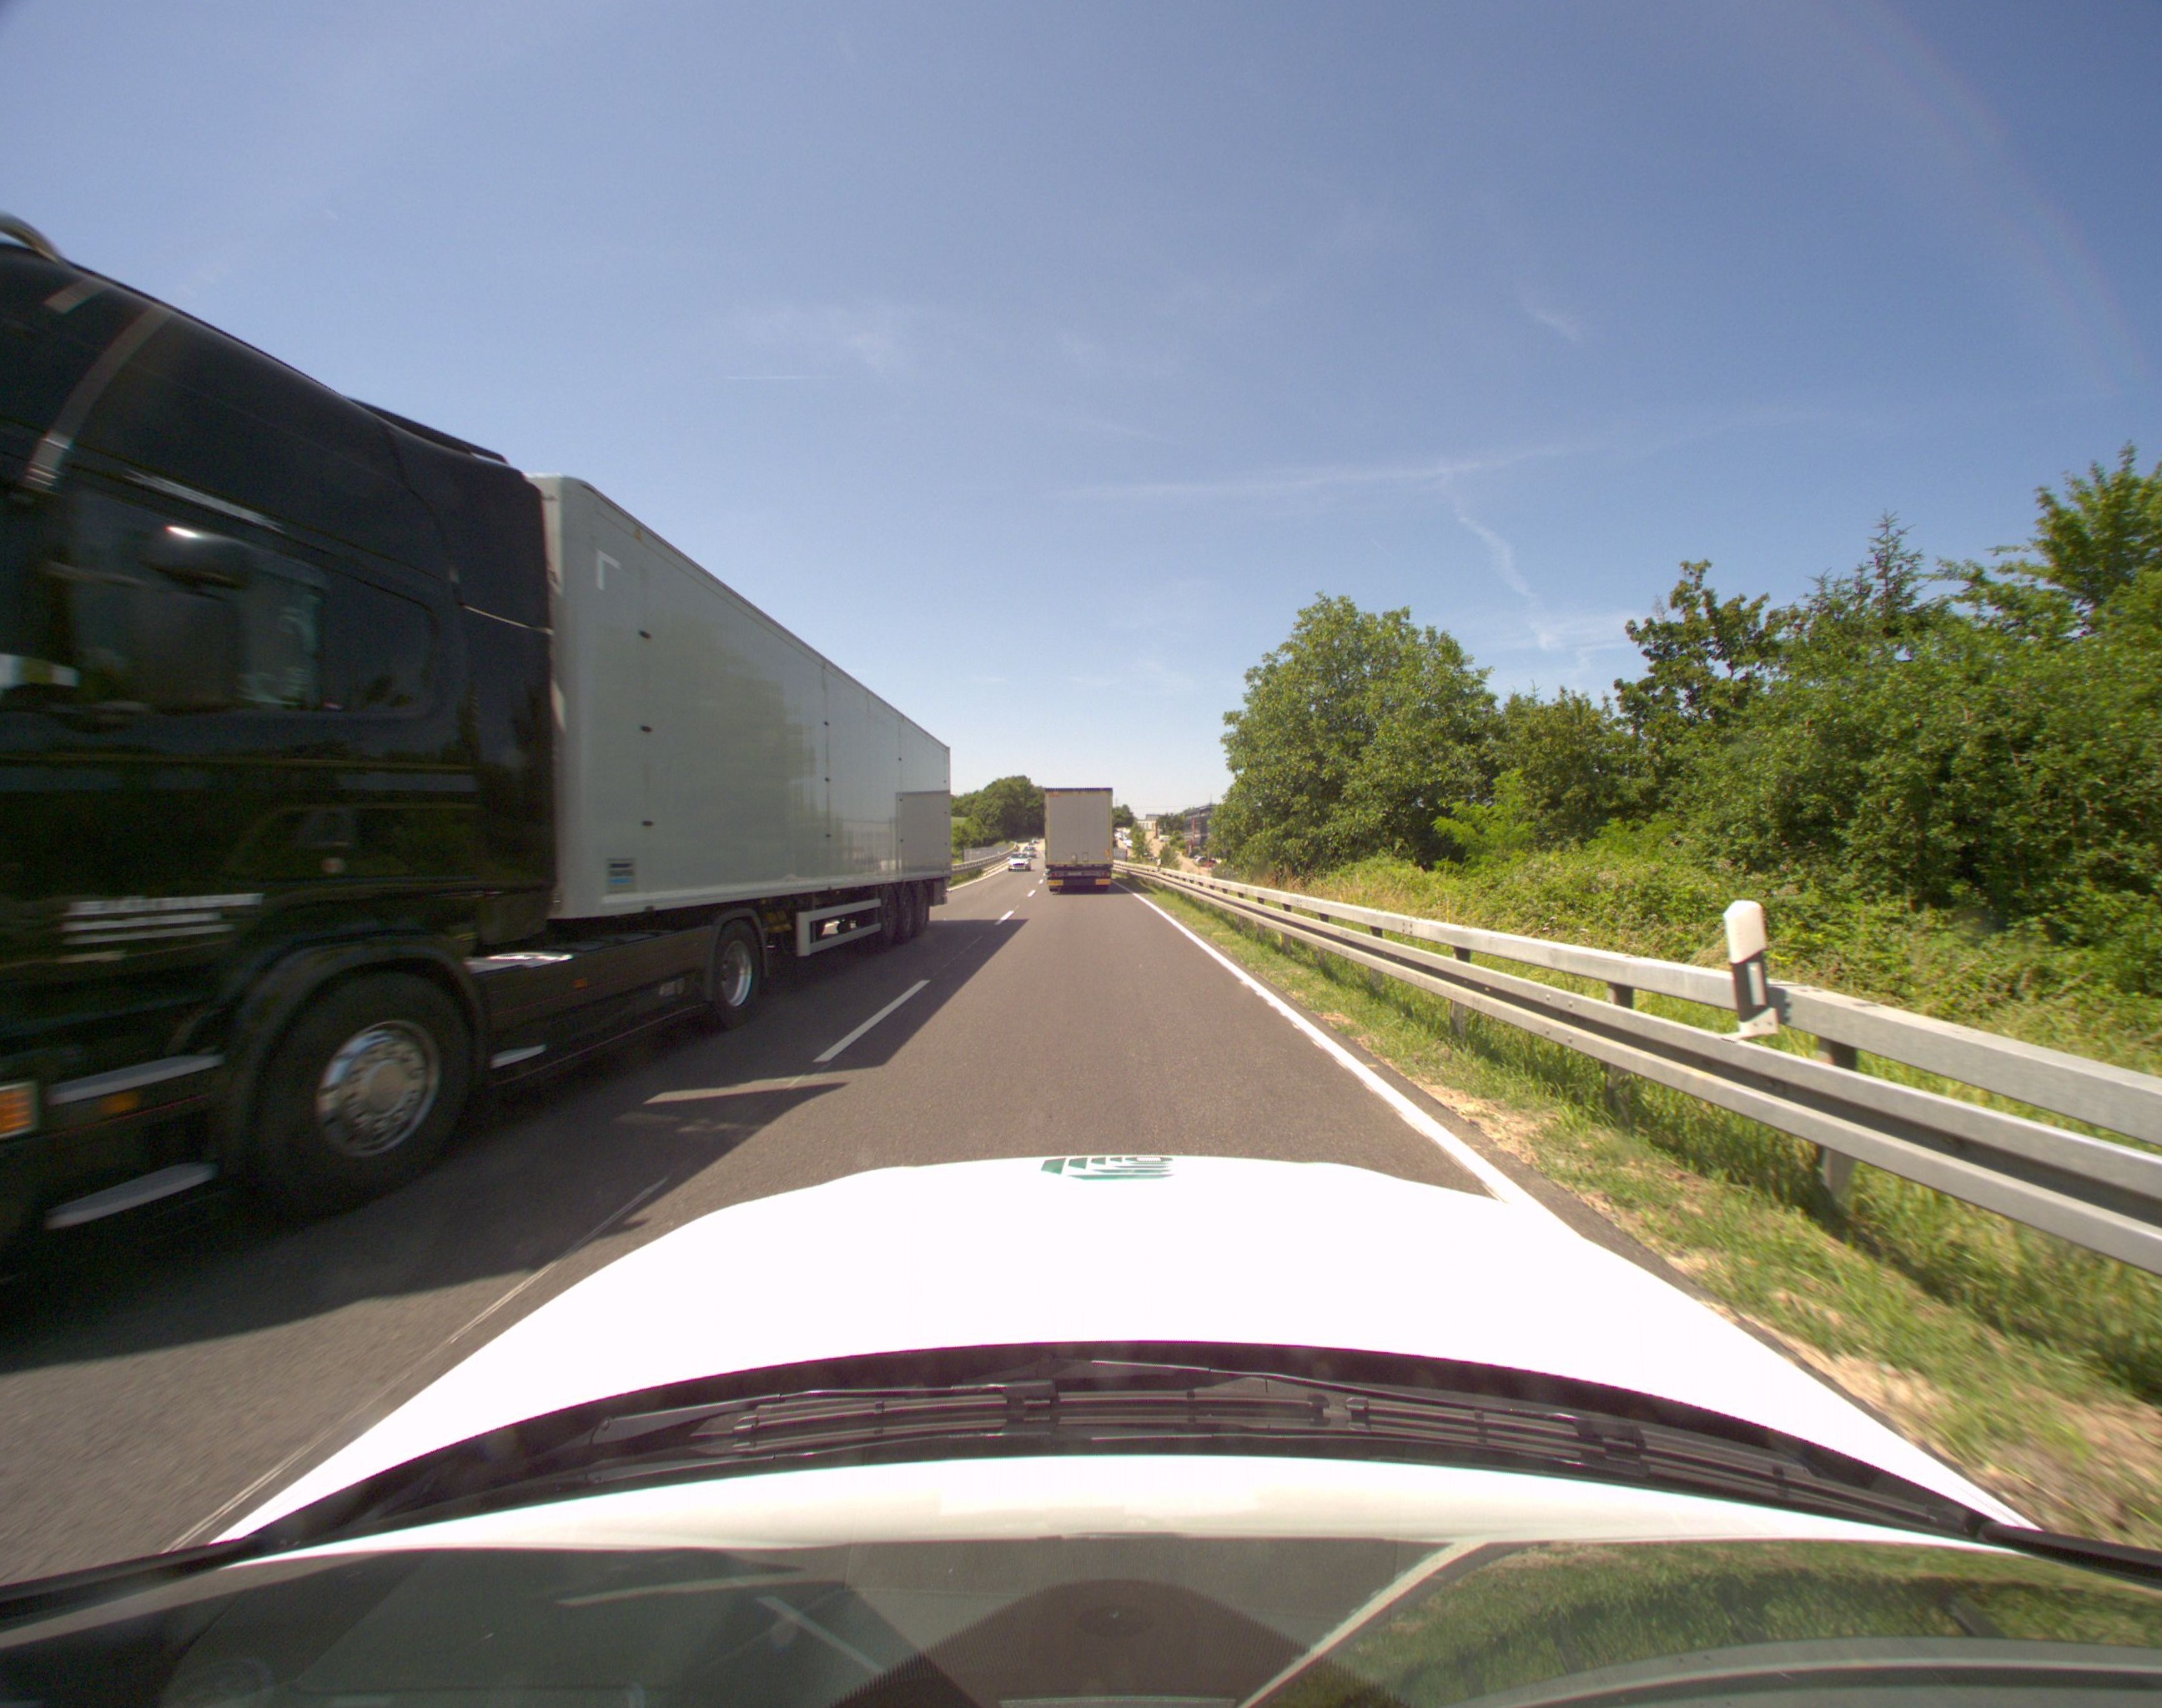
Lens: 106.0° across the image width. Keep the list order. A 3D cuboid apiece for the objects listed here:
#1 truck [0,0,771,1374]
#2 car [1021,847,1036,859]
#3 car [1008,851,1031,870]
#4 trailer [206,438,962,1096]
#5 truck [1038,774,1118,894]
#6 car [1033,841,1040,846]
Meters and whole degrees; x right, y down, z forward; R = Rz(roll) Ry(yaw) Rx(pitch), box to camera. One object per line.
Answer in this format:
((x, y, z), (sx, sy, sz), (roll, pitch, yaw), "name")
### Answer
((-4.376, -0.537, 5.180), (2.437, 4.195, 5.650), (-1, 0, 1), "truck")
((-7.111, -0.110, 110.031), (1.802, 1.589, 4.376), (-1, 0, -2), "car")
((-4.789, 0.488, 63.705), (1.642, 1.440, 4.155), (-2, 0, -2), "car")
((-4.231, -0.552, 12.253), (2.437, 4.184, 14.018), (-1, 0, 1), "trailer")
((-0.114, -0.719, 34.950), (2.857, 4.359, 9.787), (-1, 0, 0), "truck")
((-11.850, -2.762, 217.665), (1.777, 1.435, 4.828), (-1, 1, -4), "car")
